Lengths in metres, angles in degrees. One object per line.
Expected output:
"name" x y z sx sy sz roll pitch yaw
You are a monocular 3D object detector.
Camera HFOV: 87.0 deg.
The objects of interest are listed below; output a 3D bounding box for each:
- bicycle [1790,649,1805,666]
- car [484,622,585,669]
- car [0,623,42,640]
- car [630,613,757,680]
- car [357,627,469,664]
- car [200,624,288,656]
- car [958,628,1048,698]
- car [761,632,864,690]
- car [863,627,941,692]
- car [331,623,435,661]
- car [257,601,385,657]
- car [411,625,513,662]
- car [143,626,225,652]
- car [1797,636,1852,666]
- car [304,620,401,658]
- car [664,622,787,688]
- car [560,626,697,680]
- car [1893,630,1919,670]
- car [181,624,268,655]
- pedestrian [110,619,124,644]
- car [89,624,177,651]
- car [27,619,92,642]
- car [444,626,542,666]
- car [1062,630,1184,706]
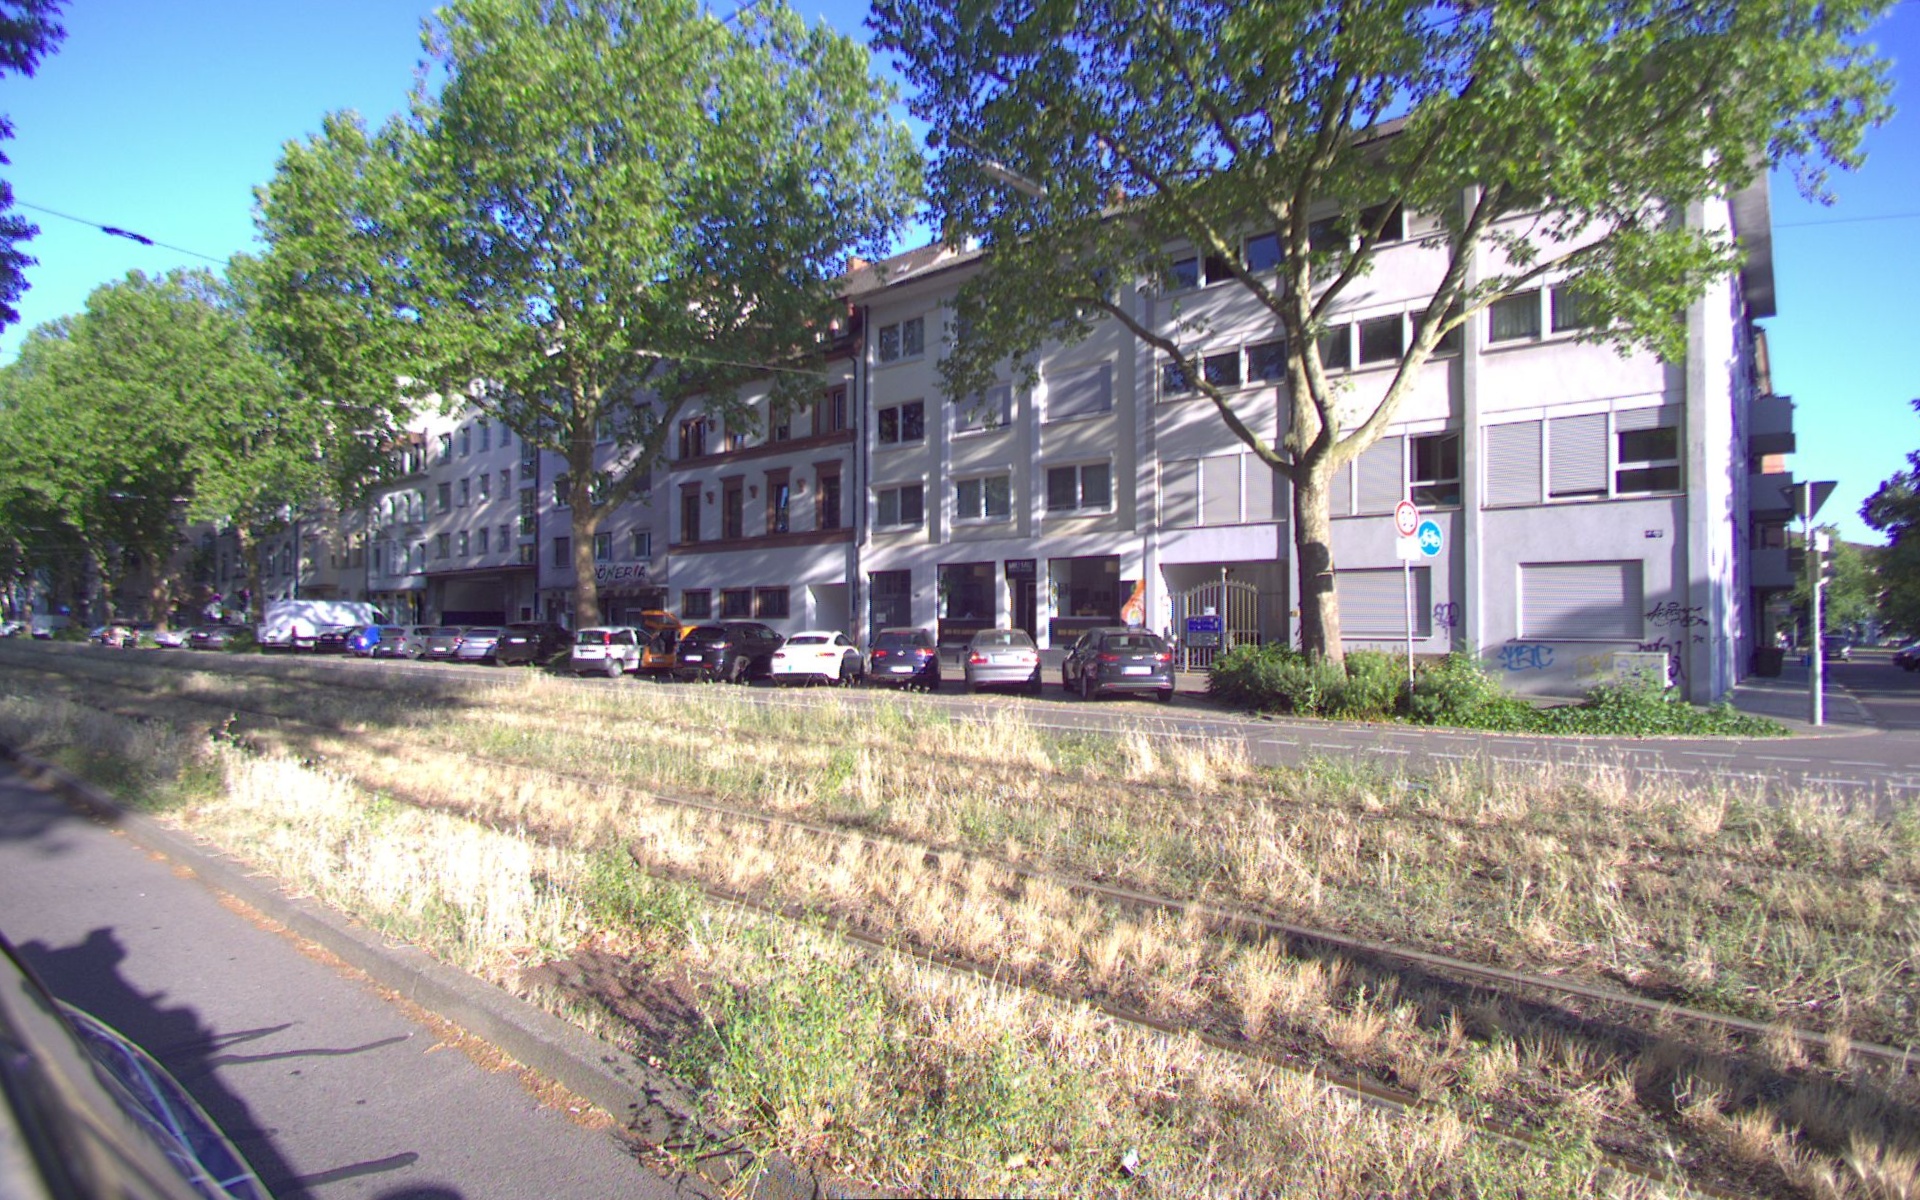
"bicycle" 50.621 3.459 61.189 0.632 0.988 1.962 -1 -2 41
"car" -15.495 1.626 37.126 1.881 1.626 4.256 0 -2 0
"car" -106.592 3.556 114.439 3.937 1.827 1.876 2 -2 -40
"car" -8.264 1.430 31.747 1.508 1.958 4.221 -1 -2 25
"car" -23.839 1.939 44.258 1.985 1.530 3.973 0 -2 20
"car" -42.535 2.367 60.221 1.980 1.830 3.982 0 -2 13
"car" 0.902 1.379 23.293 1.717 1.443 3.973 -1 -2 -2
"car" -3.778 1.547 26.638 2.123 1.388 4.257 0 -2 0
"car" -1.444 1.446 25.583 1.805 1.516 3.973 0 -2 -2
"car" -26.268 1.886 46.229 1.980 1.630 3.982 0 -2 13
"car" -33.075 1.506 52.608 2.161 2.721 5.583 0 -2 16
"car" -20.448 1.767 41.781 1.883 1.468 4.251 0 -2 4
"car" -51.768 2.590 67.562 1.980 1.719 3.982 0 -2 13
"car" 62.881 3.662 73.711 1.991 2.029 5.371 -1 -2 29
"car" -30.633 1.949 51.195 1.980 1.830 3.982 0 -2 13
"car" -6.484 1.497 28.524 2.126 1.697 4.250 0 -2 6
"car" -10.265 1.603 31.658 1.634 1.569 4.221 -1 -2 25
"car" 50.862 2.530 50.871 5.399 2.029 1.981 -1 -2 28
"car" -45.129 2.421 62.215 1.980 1.830 3.982 0 -2 13
"pedestrian" -54.944 2.072 65.987 0.422 1.610 0.612 -1 -2 41
"car" -54.887 2.492 67.237 1.996 1.719 4.184 -1 -2 36
"car" -88.314 3.014 99.326 2.071 2.230 4.943 0 -2 -2
"car" -18.111 1.772 39.469 1.582 1.470 4.251 0 -2 4
"car" 3.305 1.347 21.244 1.746 1.443 3.973 0 -2 -2
